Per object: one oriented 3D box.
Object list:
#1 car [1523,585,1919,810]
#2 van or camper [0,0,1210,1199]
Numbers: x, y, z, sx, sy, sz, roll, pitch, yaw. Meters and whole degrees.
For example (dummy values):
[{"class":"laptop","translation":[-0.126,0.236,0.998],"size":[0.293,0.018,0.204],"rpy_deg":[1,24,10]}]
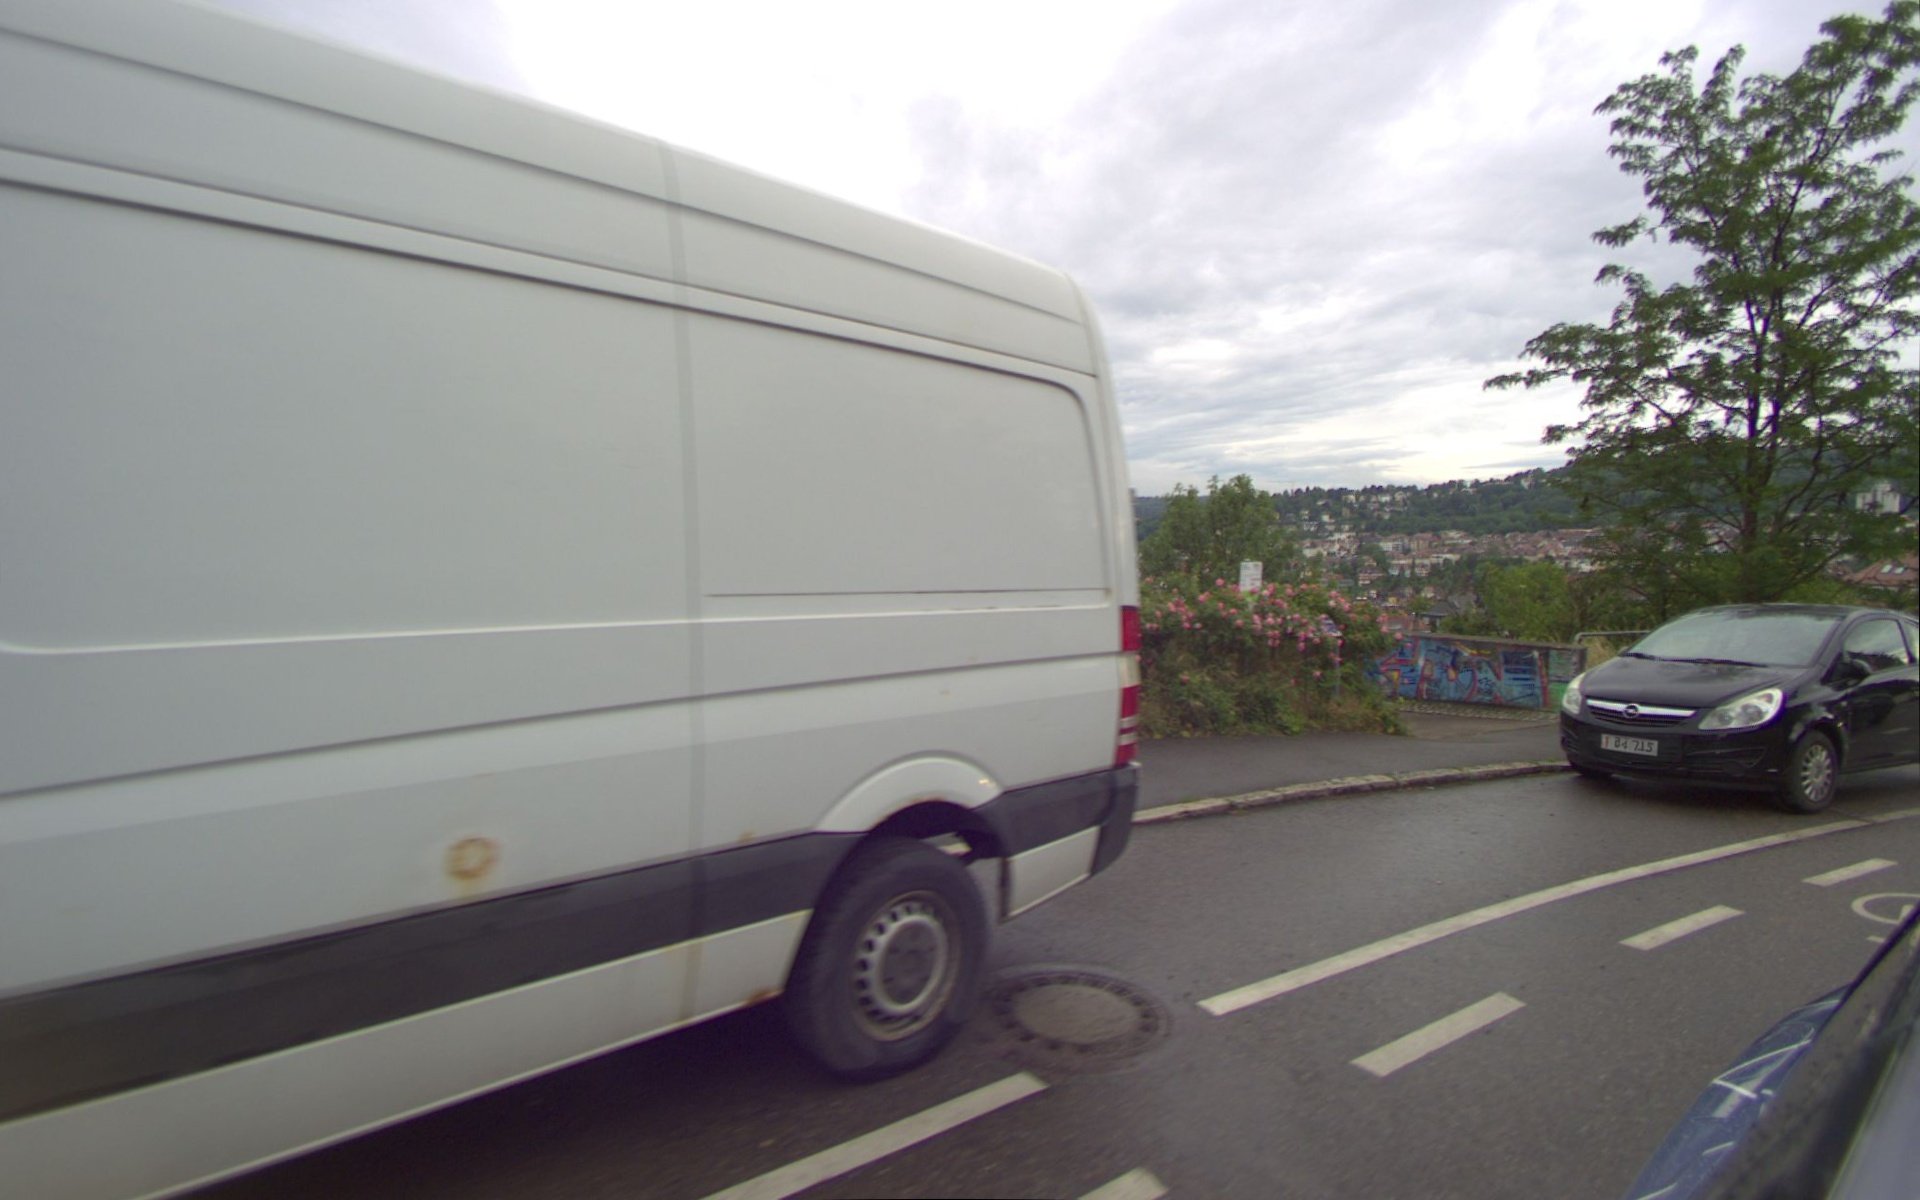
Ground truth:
[{"class":"car","translation":[6.625,0.666,8.216],"size":[3.866,1.462,1.703],"rpy_deg":[1,-1,-26]},{"class":"van or camper","translation":[-1.979,0.025,2.562],"size":[5.785,2.612,2.071],"rpy_deg":[0,3,-42]}]
